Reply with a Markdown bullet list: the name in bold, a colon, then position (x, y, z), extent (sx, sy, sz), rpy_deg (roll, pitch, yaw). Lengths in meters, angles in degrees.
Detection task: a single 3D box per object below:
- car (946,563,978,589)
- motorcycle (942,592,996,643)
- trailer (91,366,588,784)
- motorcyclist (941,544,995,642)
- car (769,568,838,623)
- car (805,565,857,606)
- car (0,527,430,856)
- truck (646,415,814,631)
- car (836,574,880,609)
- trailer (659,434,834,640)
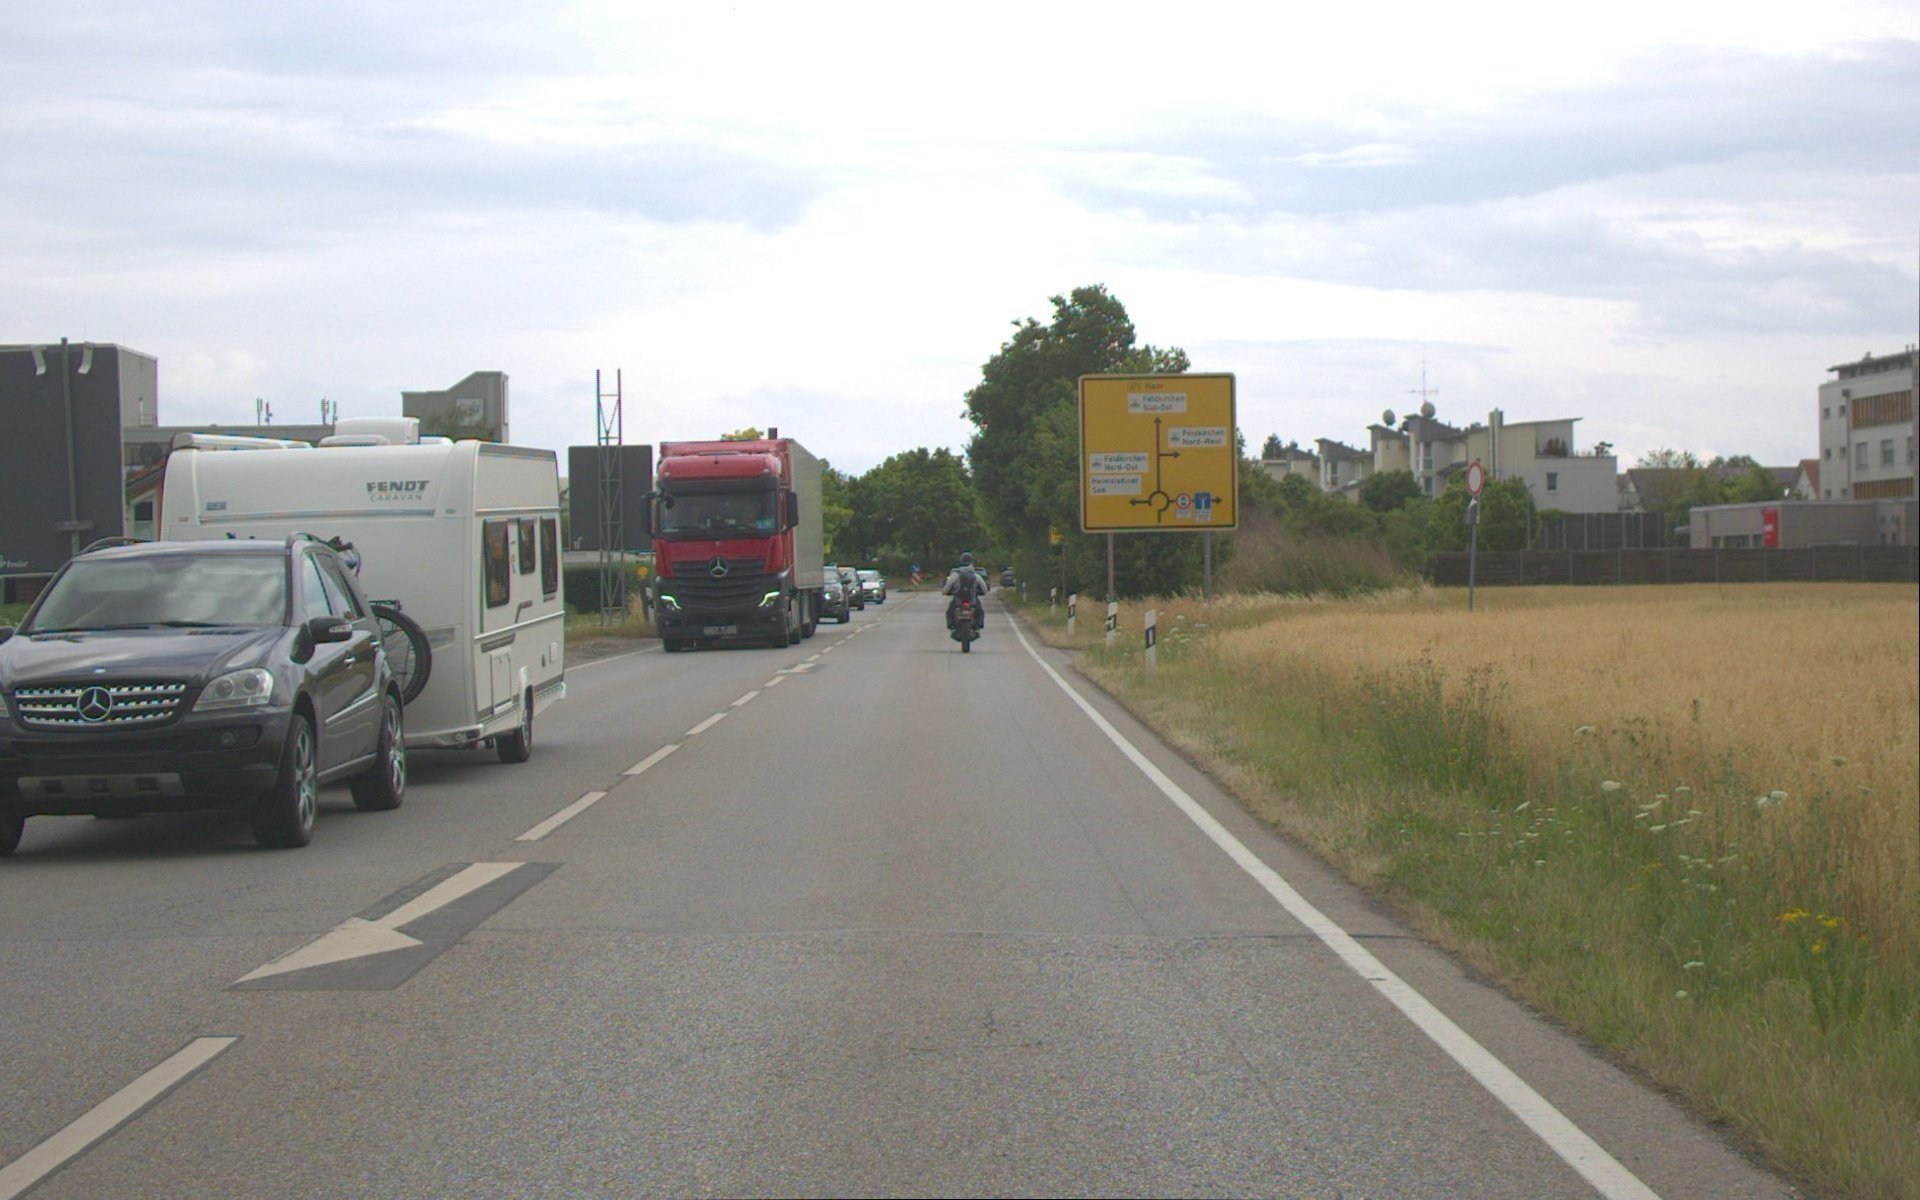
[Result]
- **car**: position (0.110, -1.383, 199.314), extent (1.855, 1.467, 4.000), rpy_deg (-1, 0, 0)
- **motorcycle**: position (0.151, 0.305, 61.818), extent (0.941, 0.887, 2.146), rpy_deg (-1, 0, 0)
- **trailer**: position (-4.510, -0.199, 26.548), extent (2.324, 2.720, 7.843), rpy_deg (-1, 0, 0)
- **motorcyclist**: position (0.144, -0.129, 61.869), extent (0.941, 1.744, 1.200), rpy_deg (-1, 0, 0)
- **car**: position (-4.345, -0.139, 95.997), extent (1.855, 1.467, 4.000), rpy_deg (-1, 0, -2)
- **car**: position (-4.710, -0.537, 125.770), extent (1.855, 1.467, 4.000), rpy_deg (-1, 0, -2)
- **car**: position (-4.479, 0.458, 20.252), extent (1.993, 1.693, 4.676), rpy_deg (-1, 0, 0)
- **truck**: position (-4.436, -1.452, 67.494), extent (2.729, 3.974, 6.816), rpy_deg (-1, 0, 0)
- **car**: position (-4.363, -0.367, 147.520), extent (1.855, 1.467, 4.000), rpy_deg (-1, 0, -2)
- **trailer**: position (-4.390, -1.265, 73.665), extent (2.729, 3.932, 13.781), rpy_deg (-1, 0, 0)
